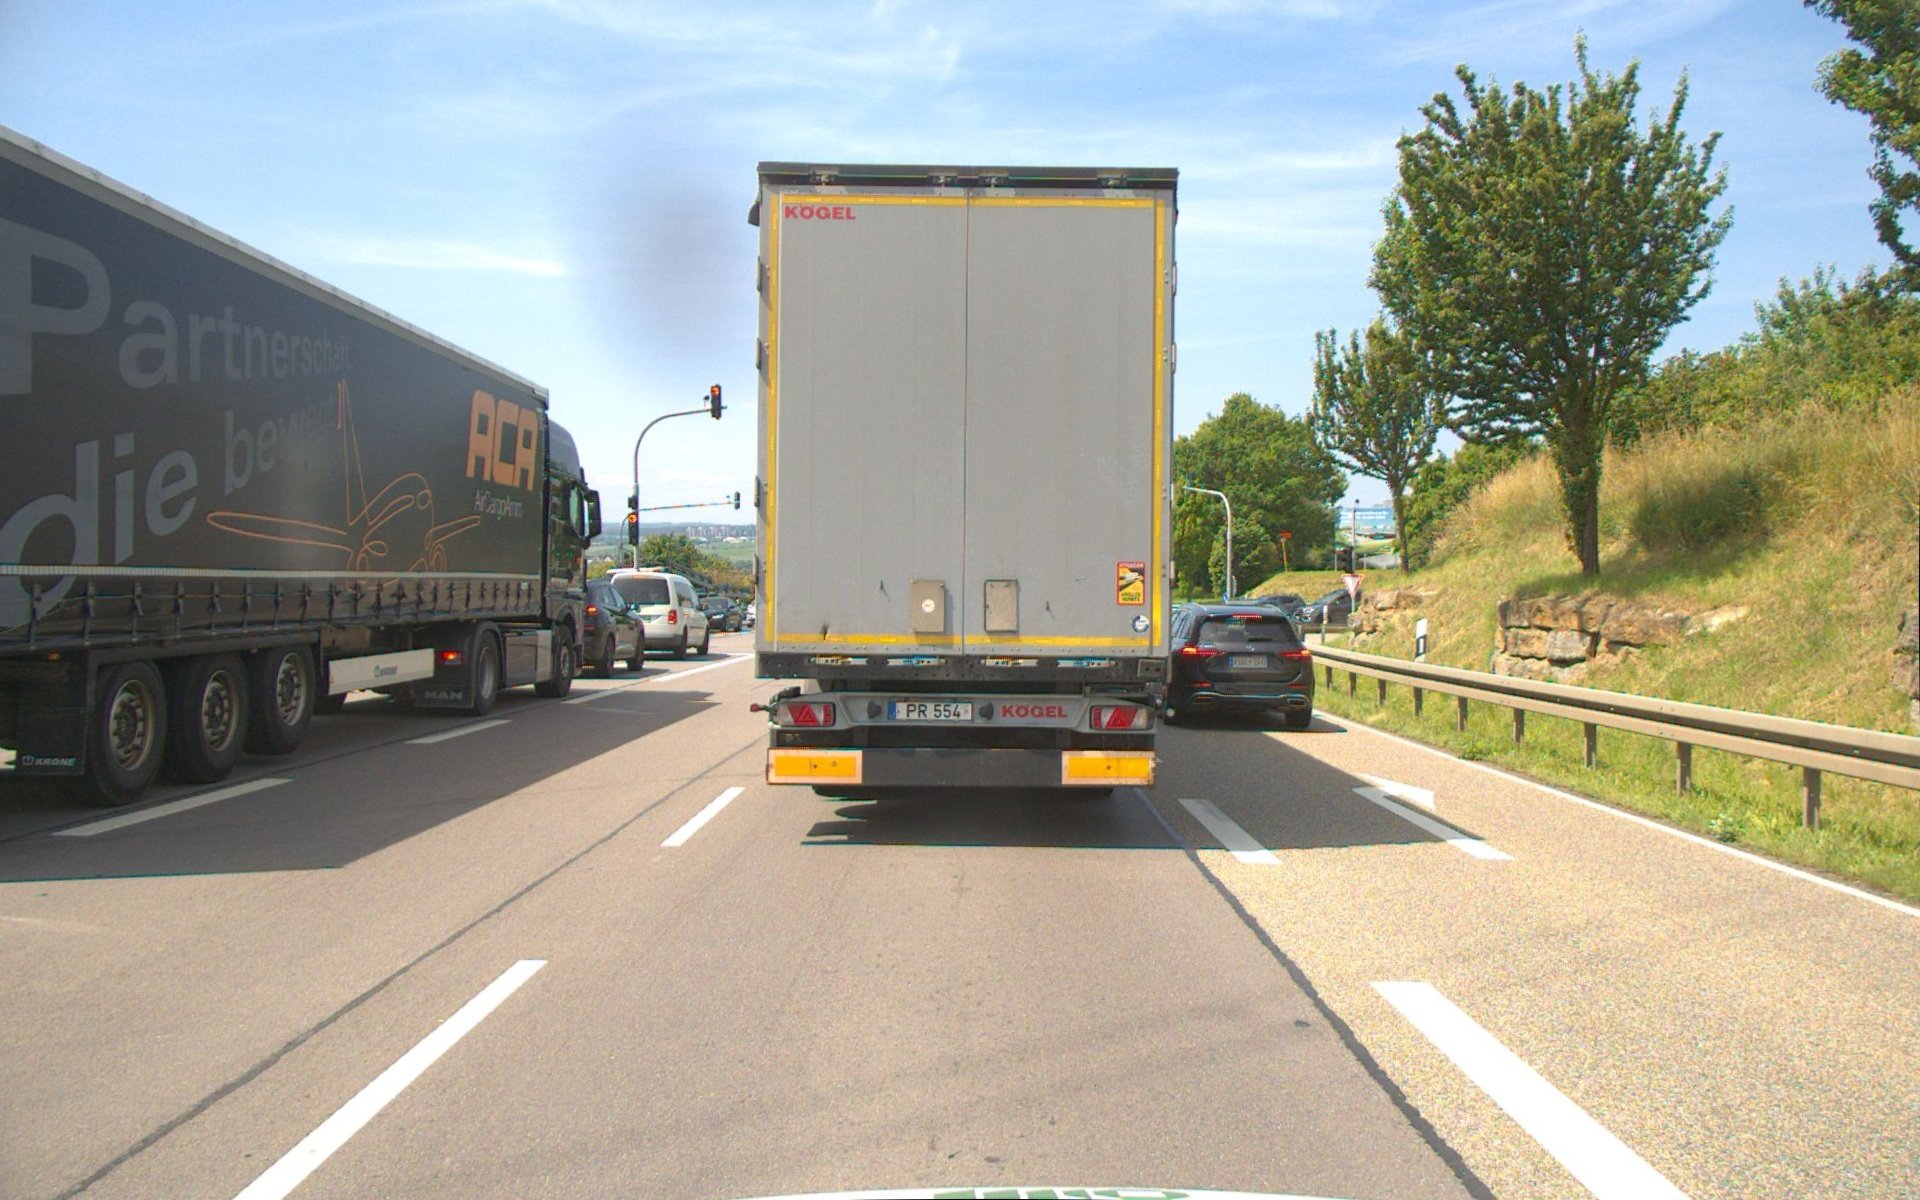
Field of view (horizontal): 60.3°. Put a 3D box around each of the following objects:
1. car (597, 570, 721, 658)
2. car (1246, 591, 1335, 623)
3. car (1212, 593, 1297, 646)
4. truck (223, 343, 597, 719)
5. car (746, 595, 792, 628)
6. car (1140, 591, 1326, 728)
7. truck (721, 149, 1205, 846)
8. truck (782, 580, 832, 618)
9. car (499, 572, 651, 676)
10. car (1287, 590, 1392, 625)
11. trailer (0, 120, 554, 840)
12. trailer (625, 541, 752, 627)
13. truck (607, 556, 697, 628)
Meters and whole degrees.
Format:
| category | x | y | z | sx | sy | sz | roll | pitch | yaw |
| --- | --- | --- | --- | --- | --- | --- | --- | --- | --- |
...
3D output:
| category | x | y | z | sx | sy | sz | roll | pitch | yaw |
| --- | --- | --- | --- | --- | --- | --- | --- | --- | --- |
| car | -6.750 | 0.289 | 37.530 | 1.731 | 1.830 | 4.753 | 1 | 0 | 2 |
| car | 16.093 | 0.328 | 80.629 | 3.912 | 1.537 | 1.713 | 0 | 0 | -8 |
| car | 9.780 | 0.651 | 54.789 | 1.761 | 1.669 | 3.996 | 1 | 0 | 26 |
| truck | -6.699 | -0.765 | 21.180 | 2.726 | 4.083 | 5.970 | 1 | 0 | 0 |
| car | -9.488 | 0.566 | 82.294 | 1.700 | 1.554 | 4.001 | 1 | 0 | 2 |
| car | 3.394 | 0.701 | 21.274 | 1.710 | 1.559 | 4.298 | 1 | 0 | 1 |
| truck | -0.028 | -0.581 | 15.276 | 2.742 | 3.998 | 11.339 | 1 | 0 | -1 |
| truck | -9.214 | -0.045 | 100.058 | 1.924 | 2.195 | 4.627 | -1 | 0 | 9 |
| car | -6.775 | 0.392 | 29.552 | 1.818 | 1.686 | 4.346 | 1 | 0 | -2 |
| car | 17.008 | 0.347 | 74.145 | 4.279 | 1.537 | 1.712 | 0 | 0 | -10 |
| trailer | -6.681 | -0.683 | 14.605 | 2.726 | 3.982 | 13.786 | 1 | 0 | 0 |
| trailer | -13.318 | -0.641 | 83.441 | 2.584 | 3.829 | 19.802 | 0 | 0 | 2 |
| truck | -13.656 | -0.305 | 73.830 | 2.741 | 3.066 | 5.990 | 0 | 0 | 1 |
